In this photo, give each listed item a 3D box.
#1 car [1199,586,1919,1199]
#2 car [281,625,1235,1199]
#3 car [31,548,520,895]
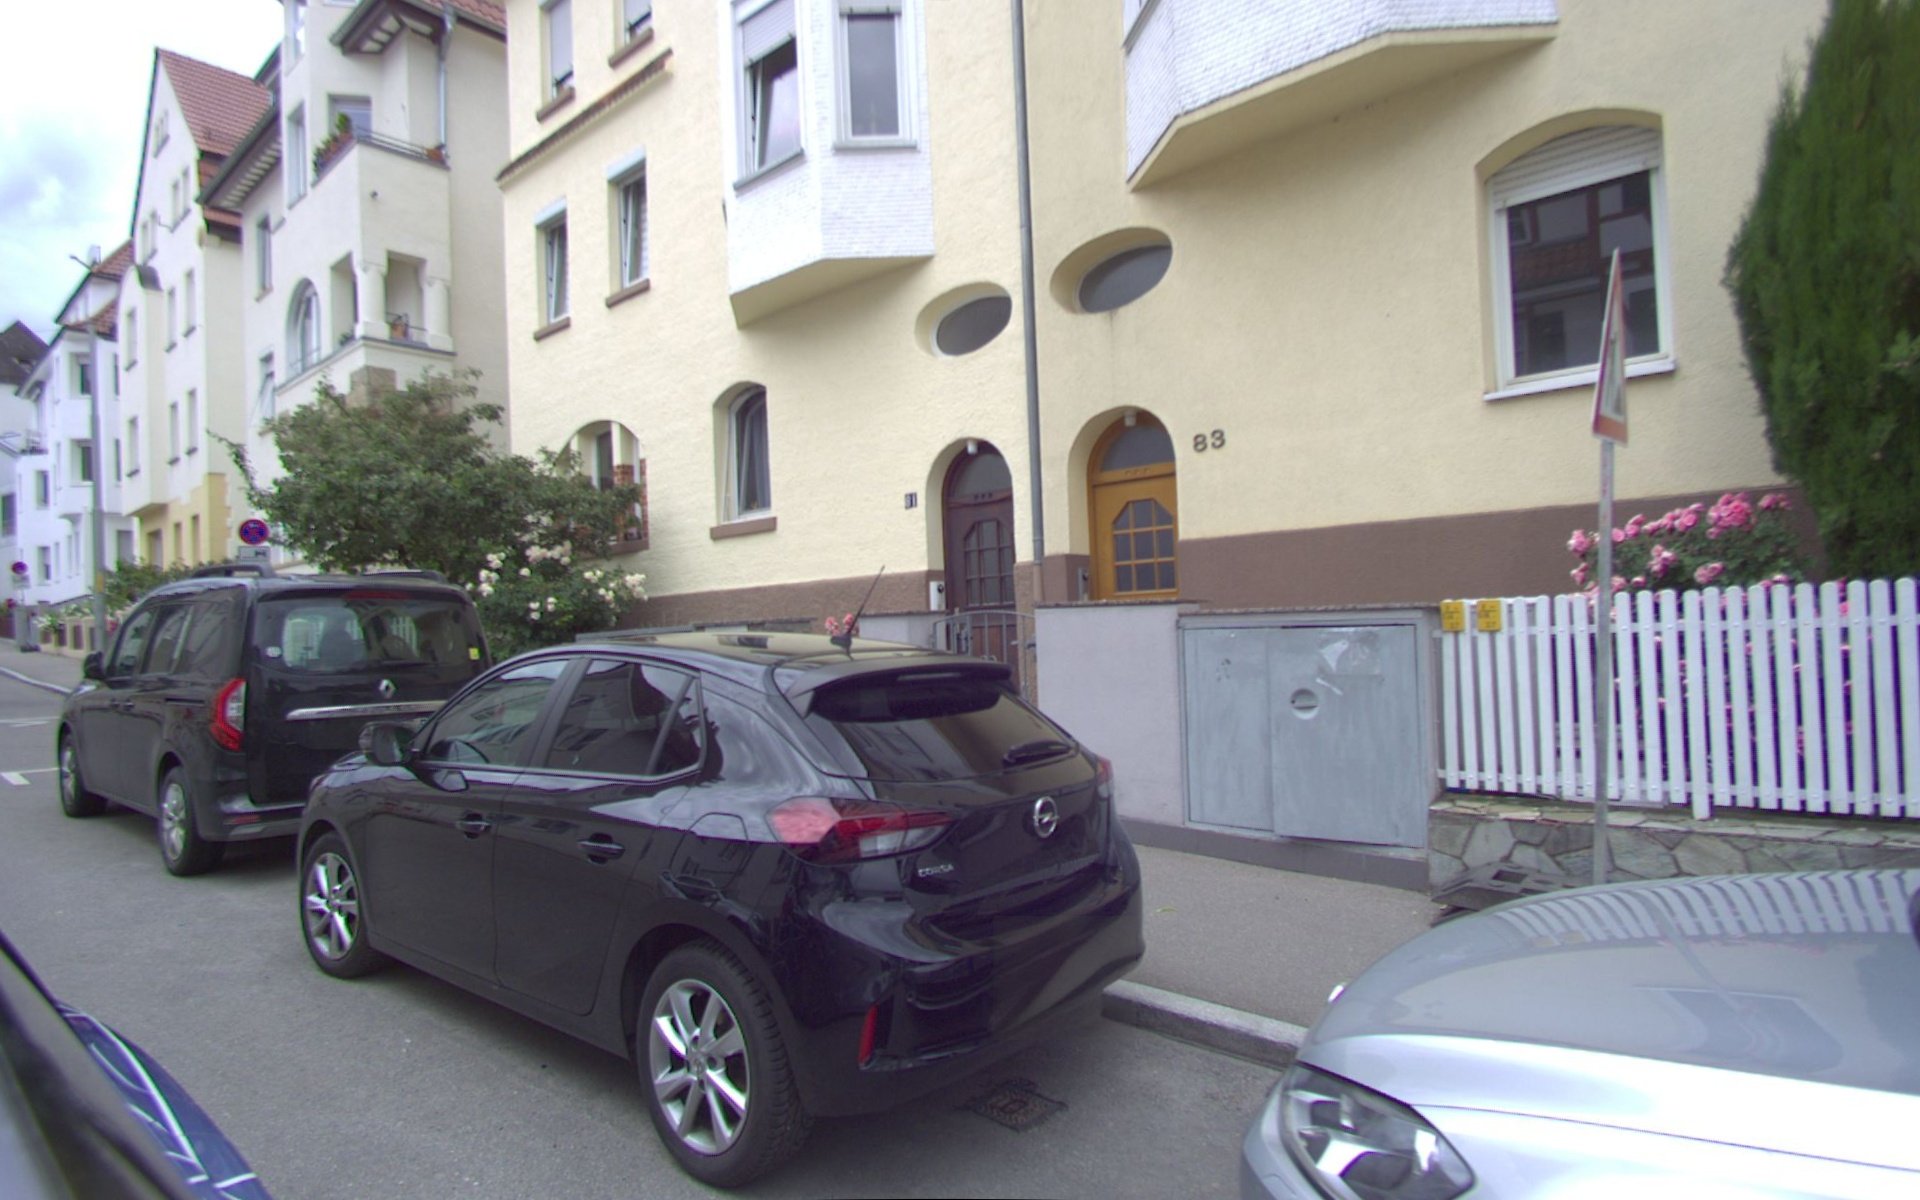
[{"bbox_3d":[2.428,0.699,0.726,4.120,1.439,1.622,-1,-2,40],"label":"car"},{"bbox_3d":[-1.030,0.818,3.864,3.700,1.409,1.622,-1,-3,40],"label":"car"},{"bbox_3d":[-5.064,0.670,7.278,4.144,1.810,1.732,-1,-1,38],"label":"car"}]
